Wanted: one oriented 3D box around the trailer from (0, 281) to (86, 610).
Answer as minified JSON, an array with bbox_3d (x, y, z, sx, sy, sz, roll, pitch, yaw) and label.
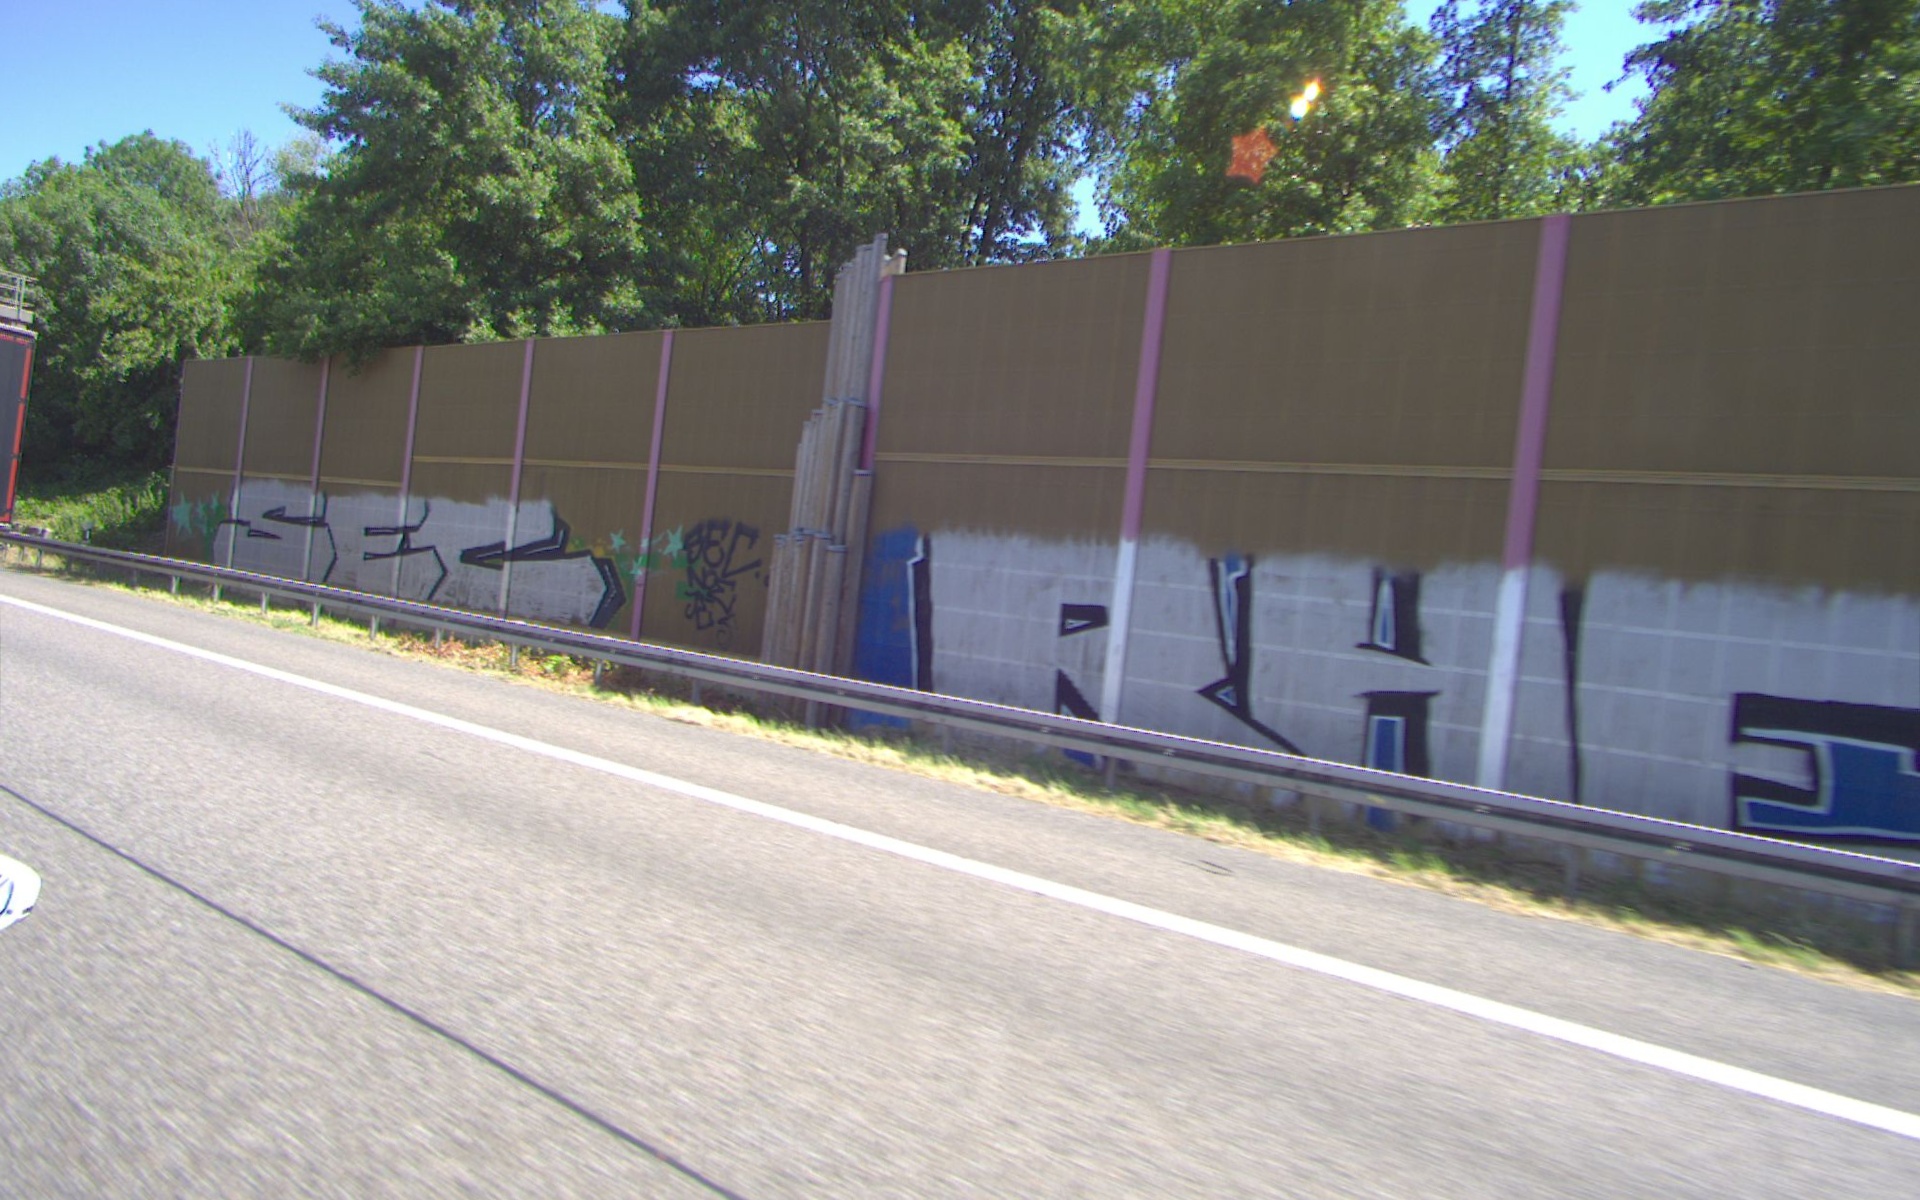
[{"bbox_3d":[-20.199,-2.890,17.397,14.649,4.559,3.112,6,-1,32],"label":"trailer"}]
